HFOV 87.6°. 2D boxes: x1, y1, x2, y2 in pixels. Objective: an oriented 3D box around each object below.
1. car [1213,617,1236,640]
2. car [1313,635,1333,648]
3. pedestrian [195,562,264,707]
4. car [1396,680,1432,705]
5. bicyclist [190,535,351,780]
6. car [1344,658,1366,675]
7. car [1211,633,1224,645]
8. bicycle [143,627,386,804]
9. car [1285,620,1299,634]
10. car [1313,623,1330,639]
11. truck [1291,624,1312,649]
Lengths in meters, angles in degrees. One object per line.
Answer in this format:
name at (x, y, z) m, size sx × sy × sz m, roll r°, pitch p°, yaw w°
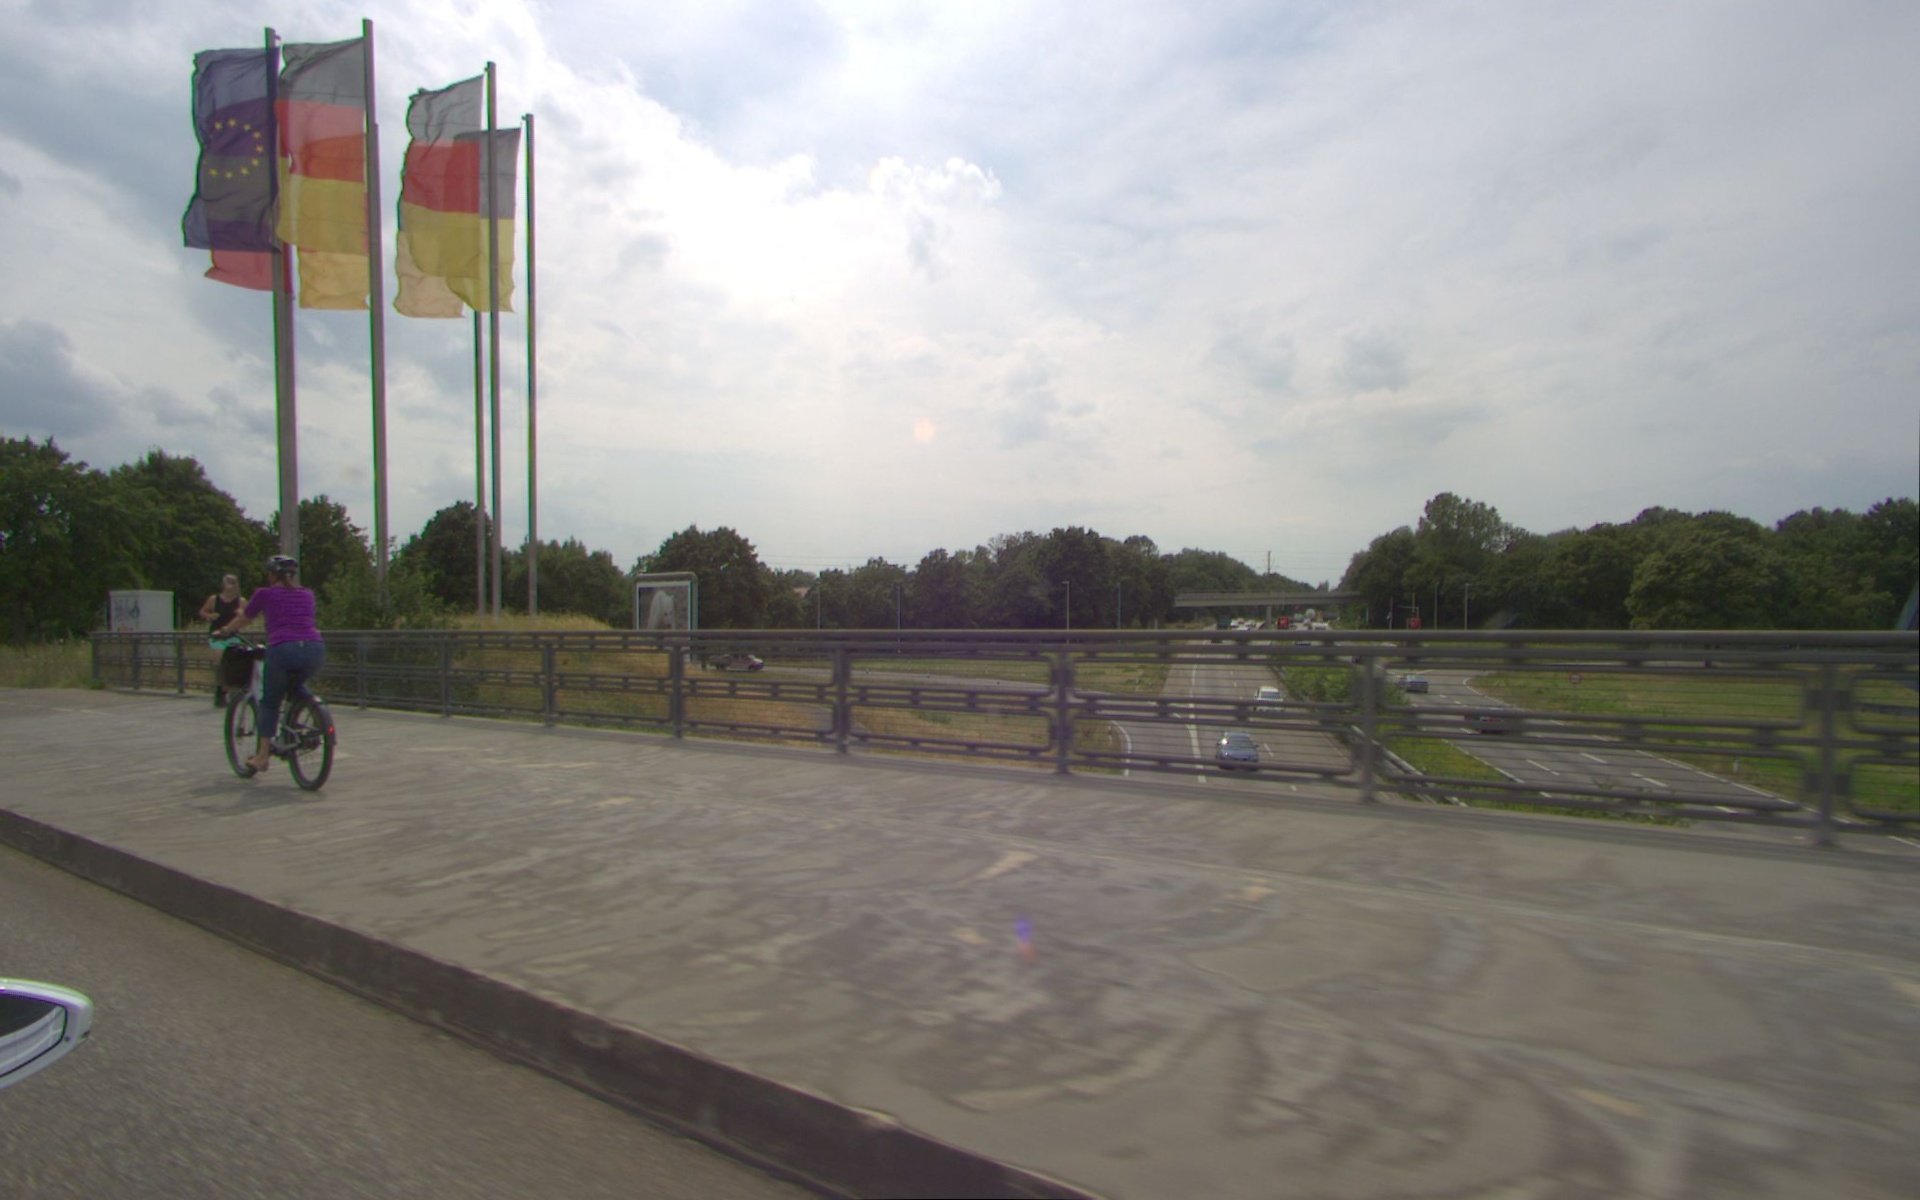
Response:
car at (47.793, 5.080, 181.138) m, size 3.280 × 3.948 × 7.509 m, roll 0°, pitch 0°, yaw 8°
car at (49.966, 5.729, 137.997) m, size 1.962 × 1.606 × 3.997 m, roll -1°, pitch 0°, yaw 11°
pedestrian at (-10.620, 0.485, 14.555) m, size 0.658 × 2.040 × 0.625 m, roll 1°, pitch 1°, yaw 34°
car at (36.592, 7.422, 80.808) m, size 1.963 × 1.606 × 3.995 m, roll -1°, pitch 0°, yaw 14°
bicyclist at (-5.392, 0.421, 7.837) m, size 0.977 × 1.778 × 0.701 m, roll 0°, pitch 1°, yaw 32°
car at (43.366, 7.287, 109.917) m, size 1.964 × 1.606 × 3.993 m, roll -1°, pitch 0°, yaw 17°
car at (38.510, 5.802, 149.663) m, size 1.663 × 1.566 × 3.994 m, roll 0°, pitch 0°, yaw 16°
bicycle at (-5.576, 0.837, 7.969) m, size 2.426 × 1.208 × 0.692 m, roll 0°, pitch 1°, yaw 33°
car at (62.477, 5.157, 188.678) m, size 2.043 × 2.523 × 4.359 m, roll 0°, pitch 0°, yaw 12°
car at (57.488, 4.919, 159.253) m, size 2.043 × 2.523 × 4.359 m, roll 0°, pitch 0°, yaw 12°
truck at (46.292, 4.963, 135.880) m, size 1.962 × 3.191 × 4.378 m, roll -1°, pitch 0°, yaw 10°
